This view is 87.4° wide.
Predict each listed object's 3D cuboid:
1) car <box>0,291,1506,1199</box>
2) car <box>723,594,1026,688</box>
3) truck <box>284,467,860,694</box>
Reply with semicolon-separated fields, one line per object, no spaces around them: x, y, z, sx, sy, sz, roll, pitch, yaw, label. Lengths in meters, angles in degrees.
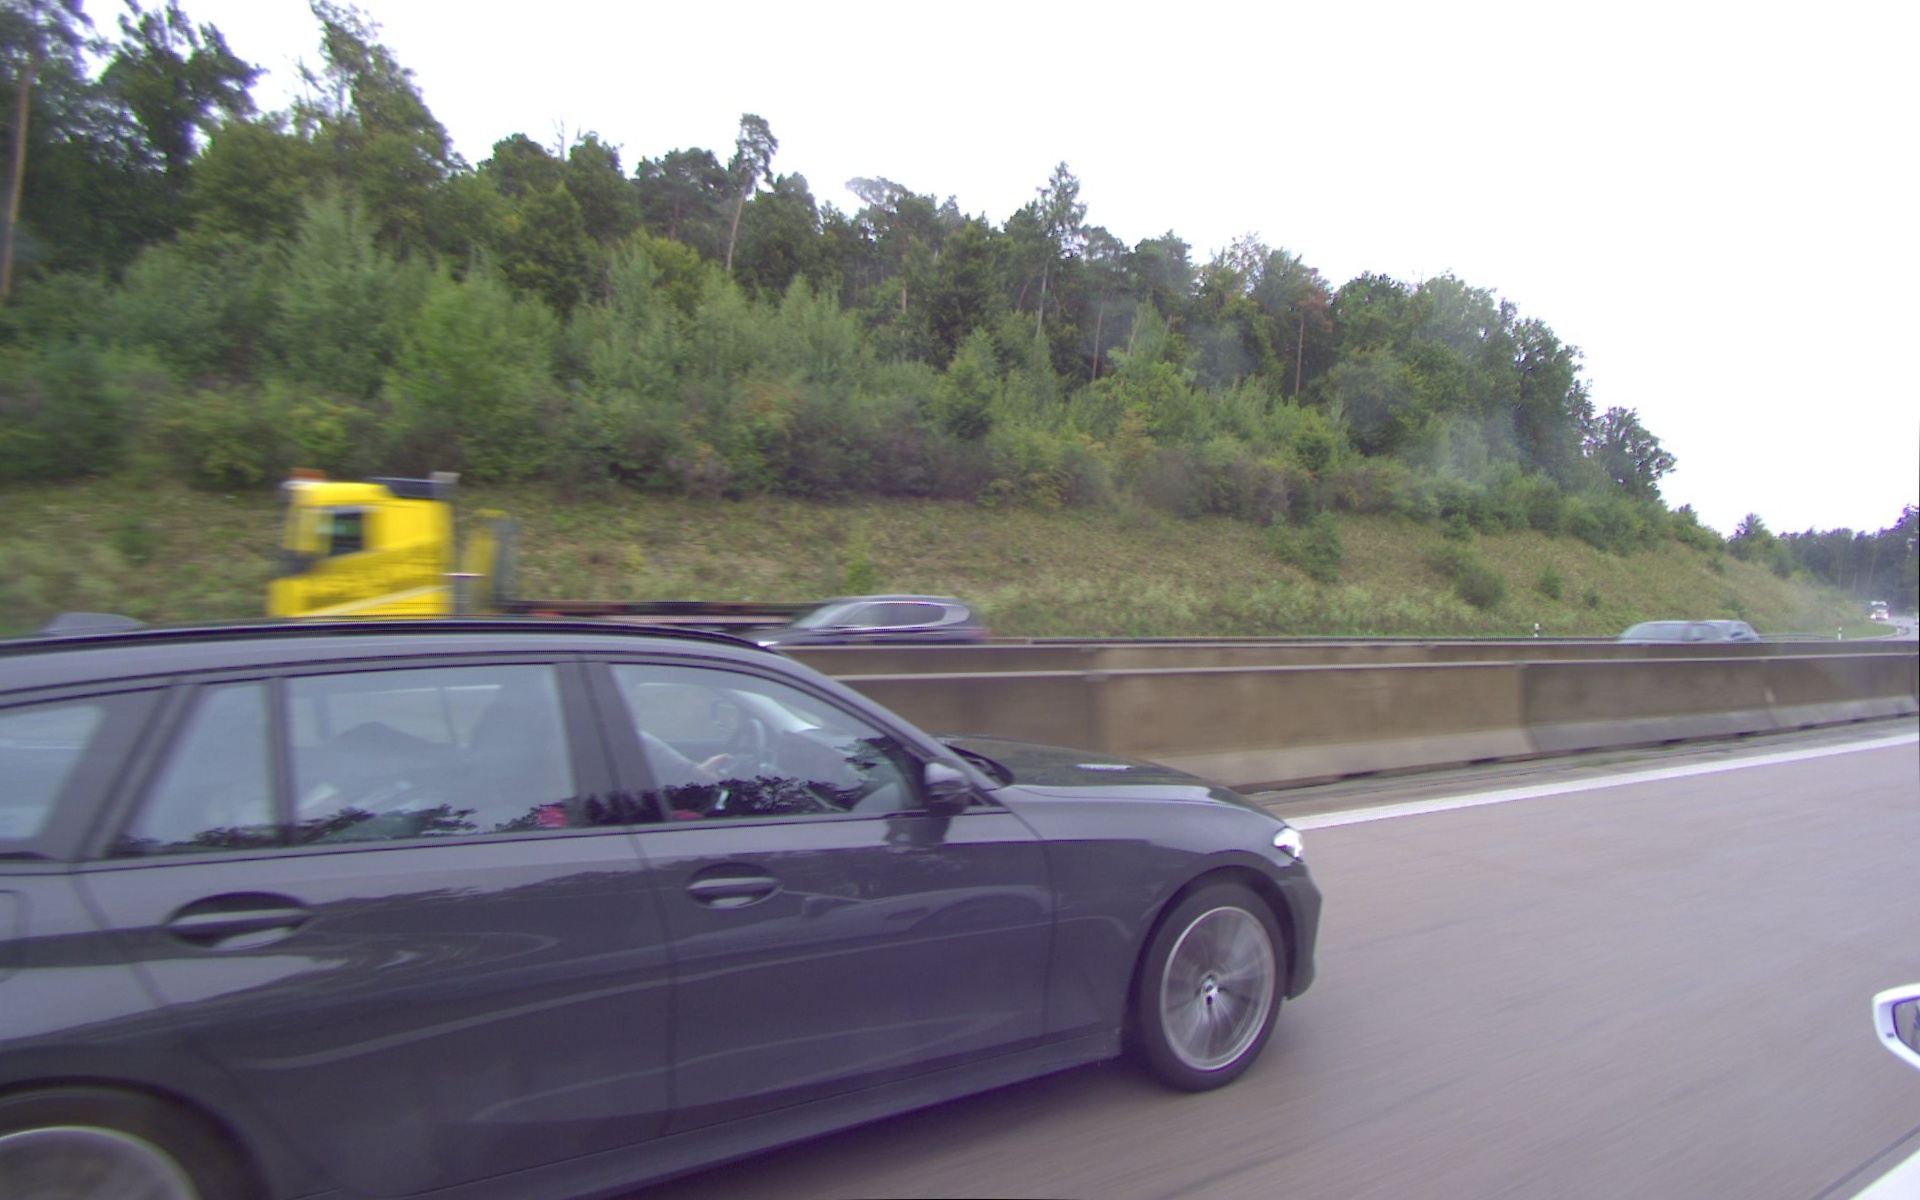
-1.040;0.509;3.039;6.091;1.971;1.898;1;-1;-31;car
-1.364;0.642;16.712;4.711;1.364;1.796;1;0;-31;car
-6.583;-0.200;18.271;9.275;3.340;2.608;1;0;-31;truck
